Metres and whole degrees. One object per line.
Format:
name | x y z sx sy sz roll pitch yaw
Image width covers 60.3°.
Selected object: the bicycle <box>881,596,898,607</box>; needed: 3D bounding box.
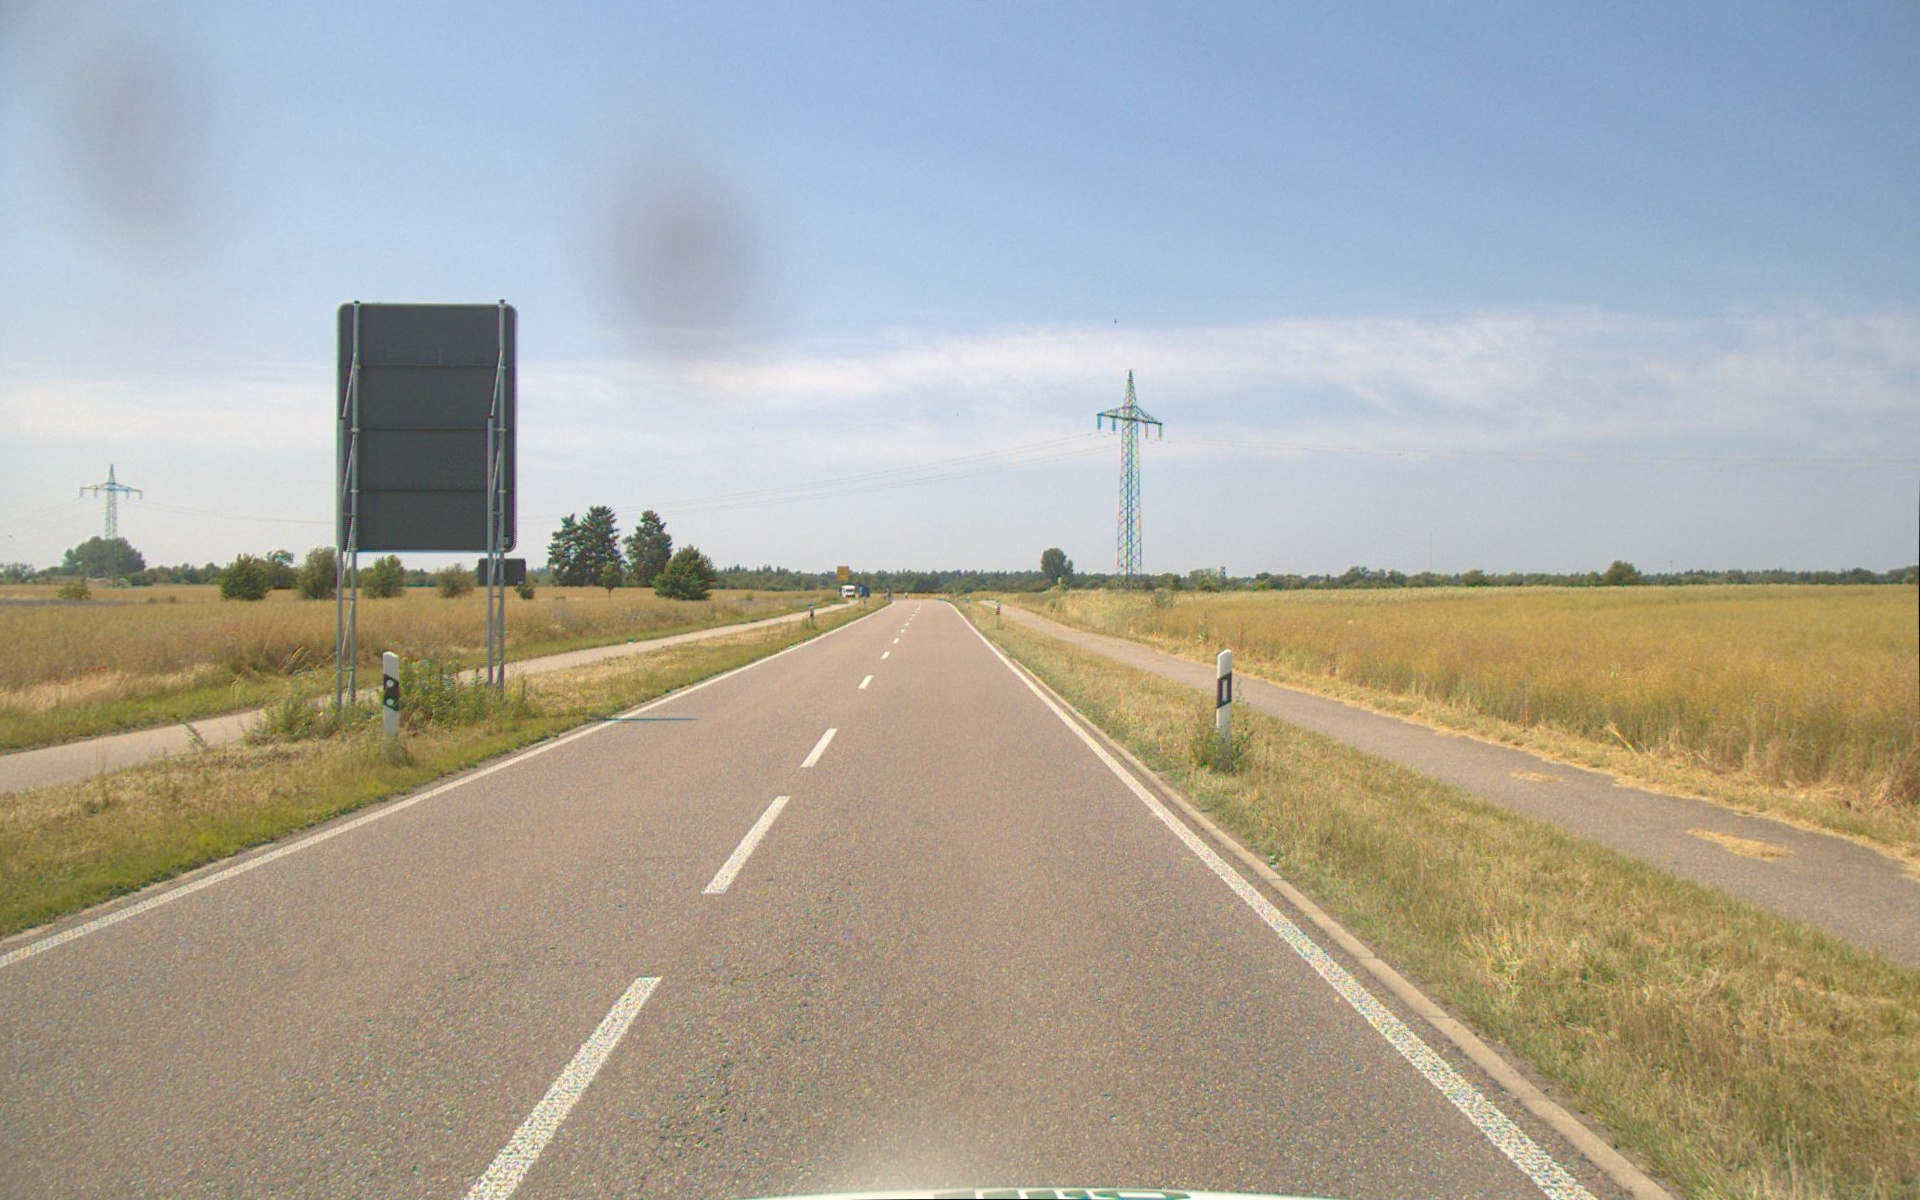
bicycle | -8.469 0.207 199.381 0.752 1.250 2.201 -1 0 43
